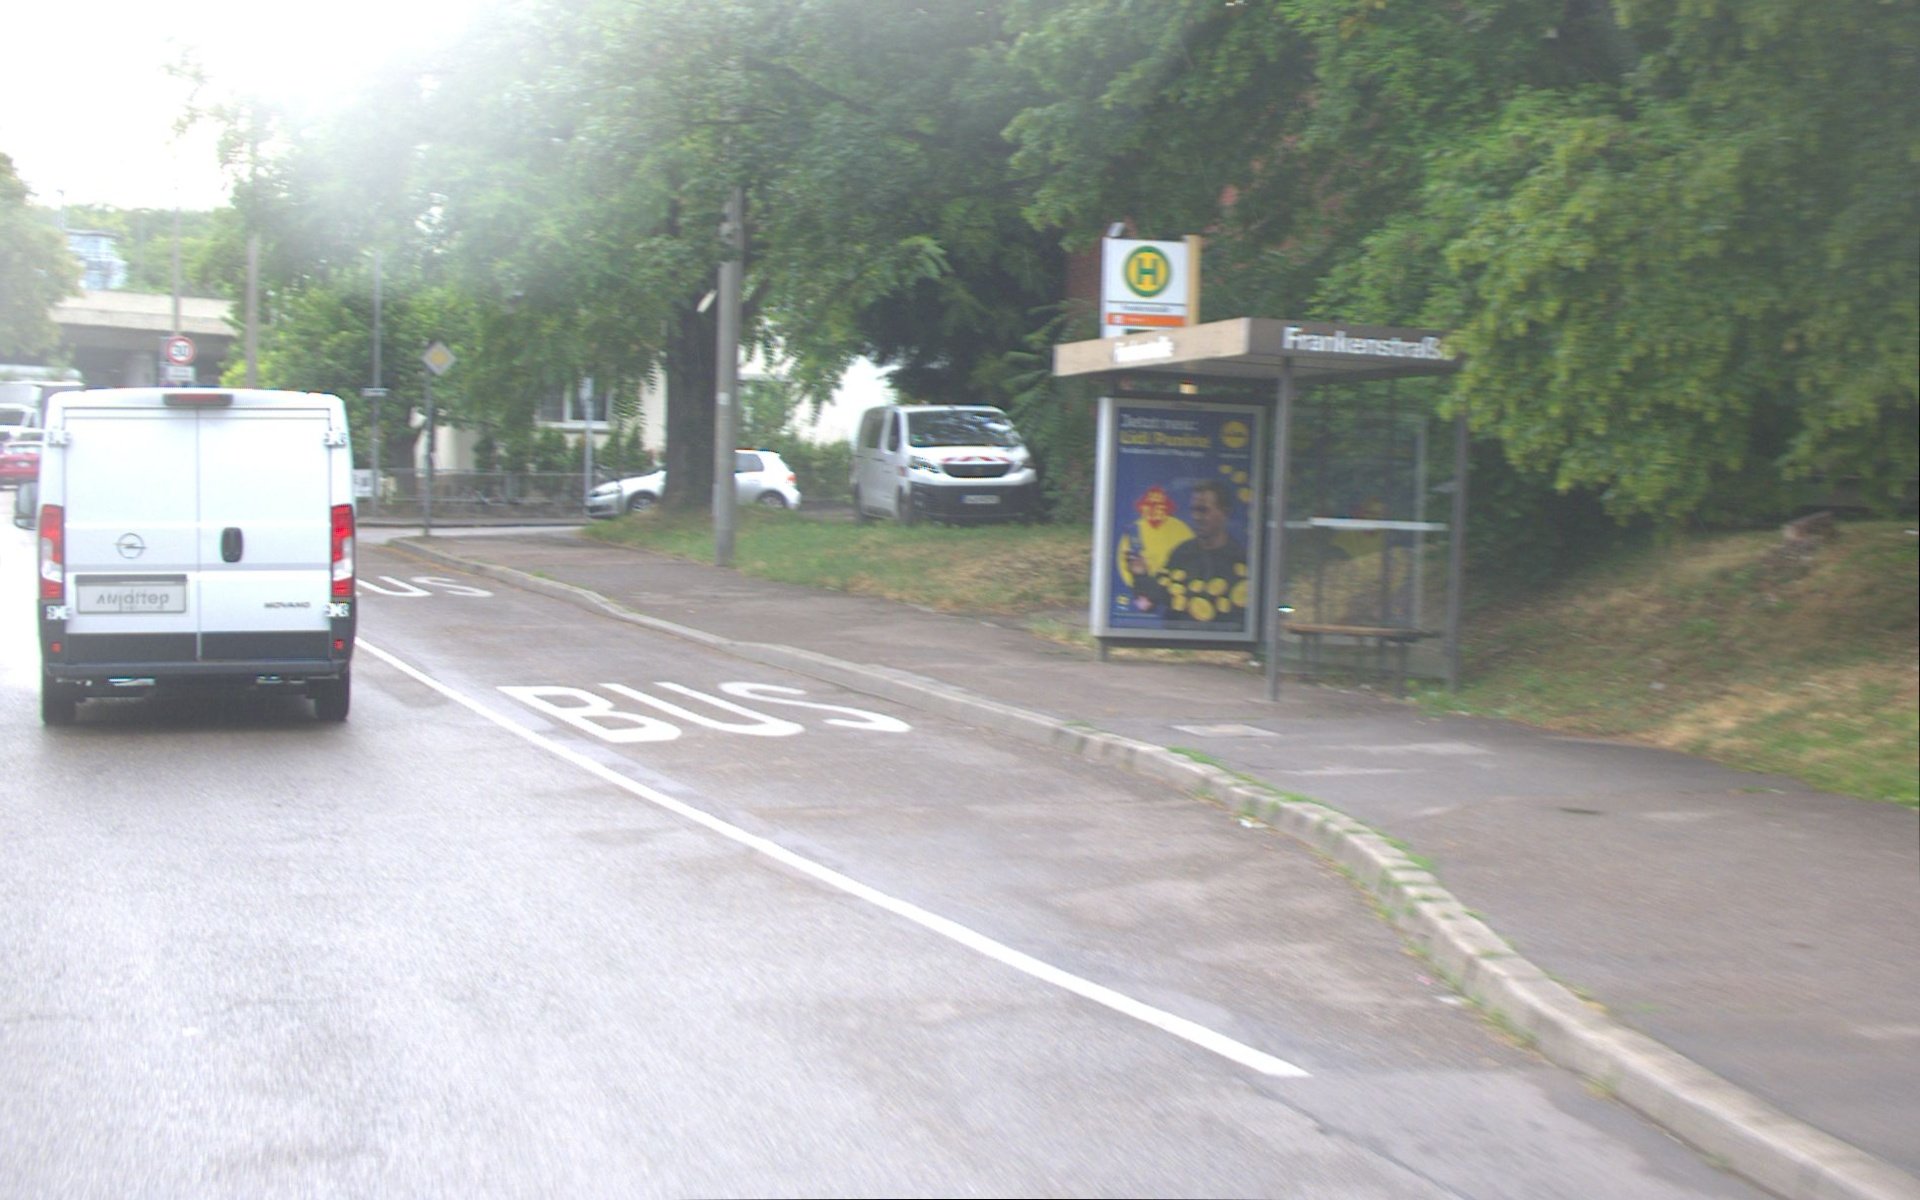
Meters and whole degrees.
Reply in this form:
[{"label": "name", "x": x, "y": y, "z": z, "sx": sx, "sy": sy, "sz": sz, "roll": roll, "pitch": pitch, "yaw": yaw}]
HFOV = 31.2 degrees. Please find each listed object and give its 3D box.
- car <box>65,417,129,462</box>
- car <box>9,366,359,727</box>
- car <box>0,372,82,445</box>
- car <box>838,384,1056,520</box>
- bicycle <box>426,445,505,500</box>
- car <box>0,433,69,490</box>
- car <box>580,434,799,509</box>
[{"label": "car", "x": -30.229, "y": -5.644, "z": 120.526, "sx": 1.765, "sy": 1.505, "sz": 3.757, "roll": 1, "pitch": 3, "yaw": -8}, {"label": "car", "x": -5.524, "y": -0.425, "z": 24.344, "sx": 2.145, "sy": 2.275, "sz": 5.065, "roll": -1, "pitch": 2, "yaw": -14}, {"label": "car", "x": -39.988, "y": -8.211, "z": 147.223, "sx": 2.534, "sy": 3.007, "sz": 7.211, "roll": 2, "pitch": 3, "yaw": 3}, {"label": "car", "x": -0.263, "y": -2.176, "z": 50.119, "sx": 1.993, "sy": 1.798, "sz": 5.149, "roll": 2, "pitch": 3, "yaw": -13}, {"label": "bicycle", "x": -10.122, "y": -2.607, "z": 70.358, "sx": 1.570, "sy": 1.111, "sz": 0.457, "roll": -1, "pitch": 3, "yaw": -12}, {"label": "car", "x": -26.755, "y": -4.010, "z": 99.097, "sx": 1.836, "sy": 1.528, "sz": 4.205, "roll": 1, "pitch": 3, "yaw": -18}, {"label": "car", "x": -5.332, "y": -2.525, "z": 67.703, "sx": 3.986, "sy": 1.418, "sz": 1.705, "roll": -1, "pitch": 2, "yaw": -18}]
